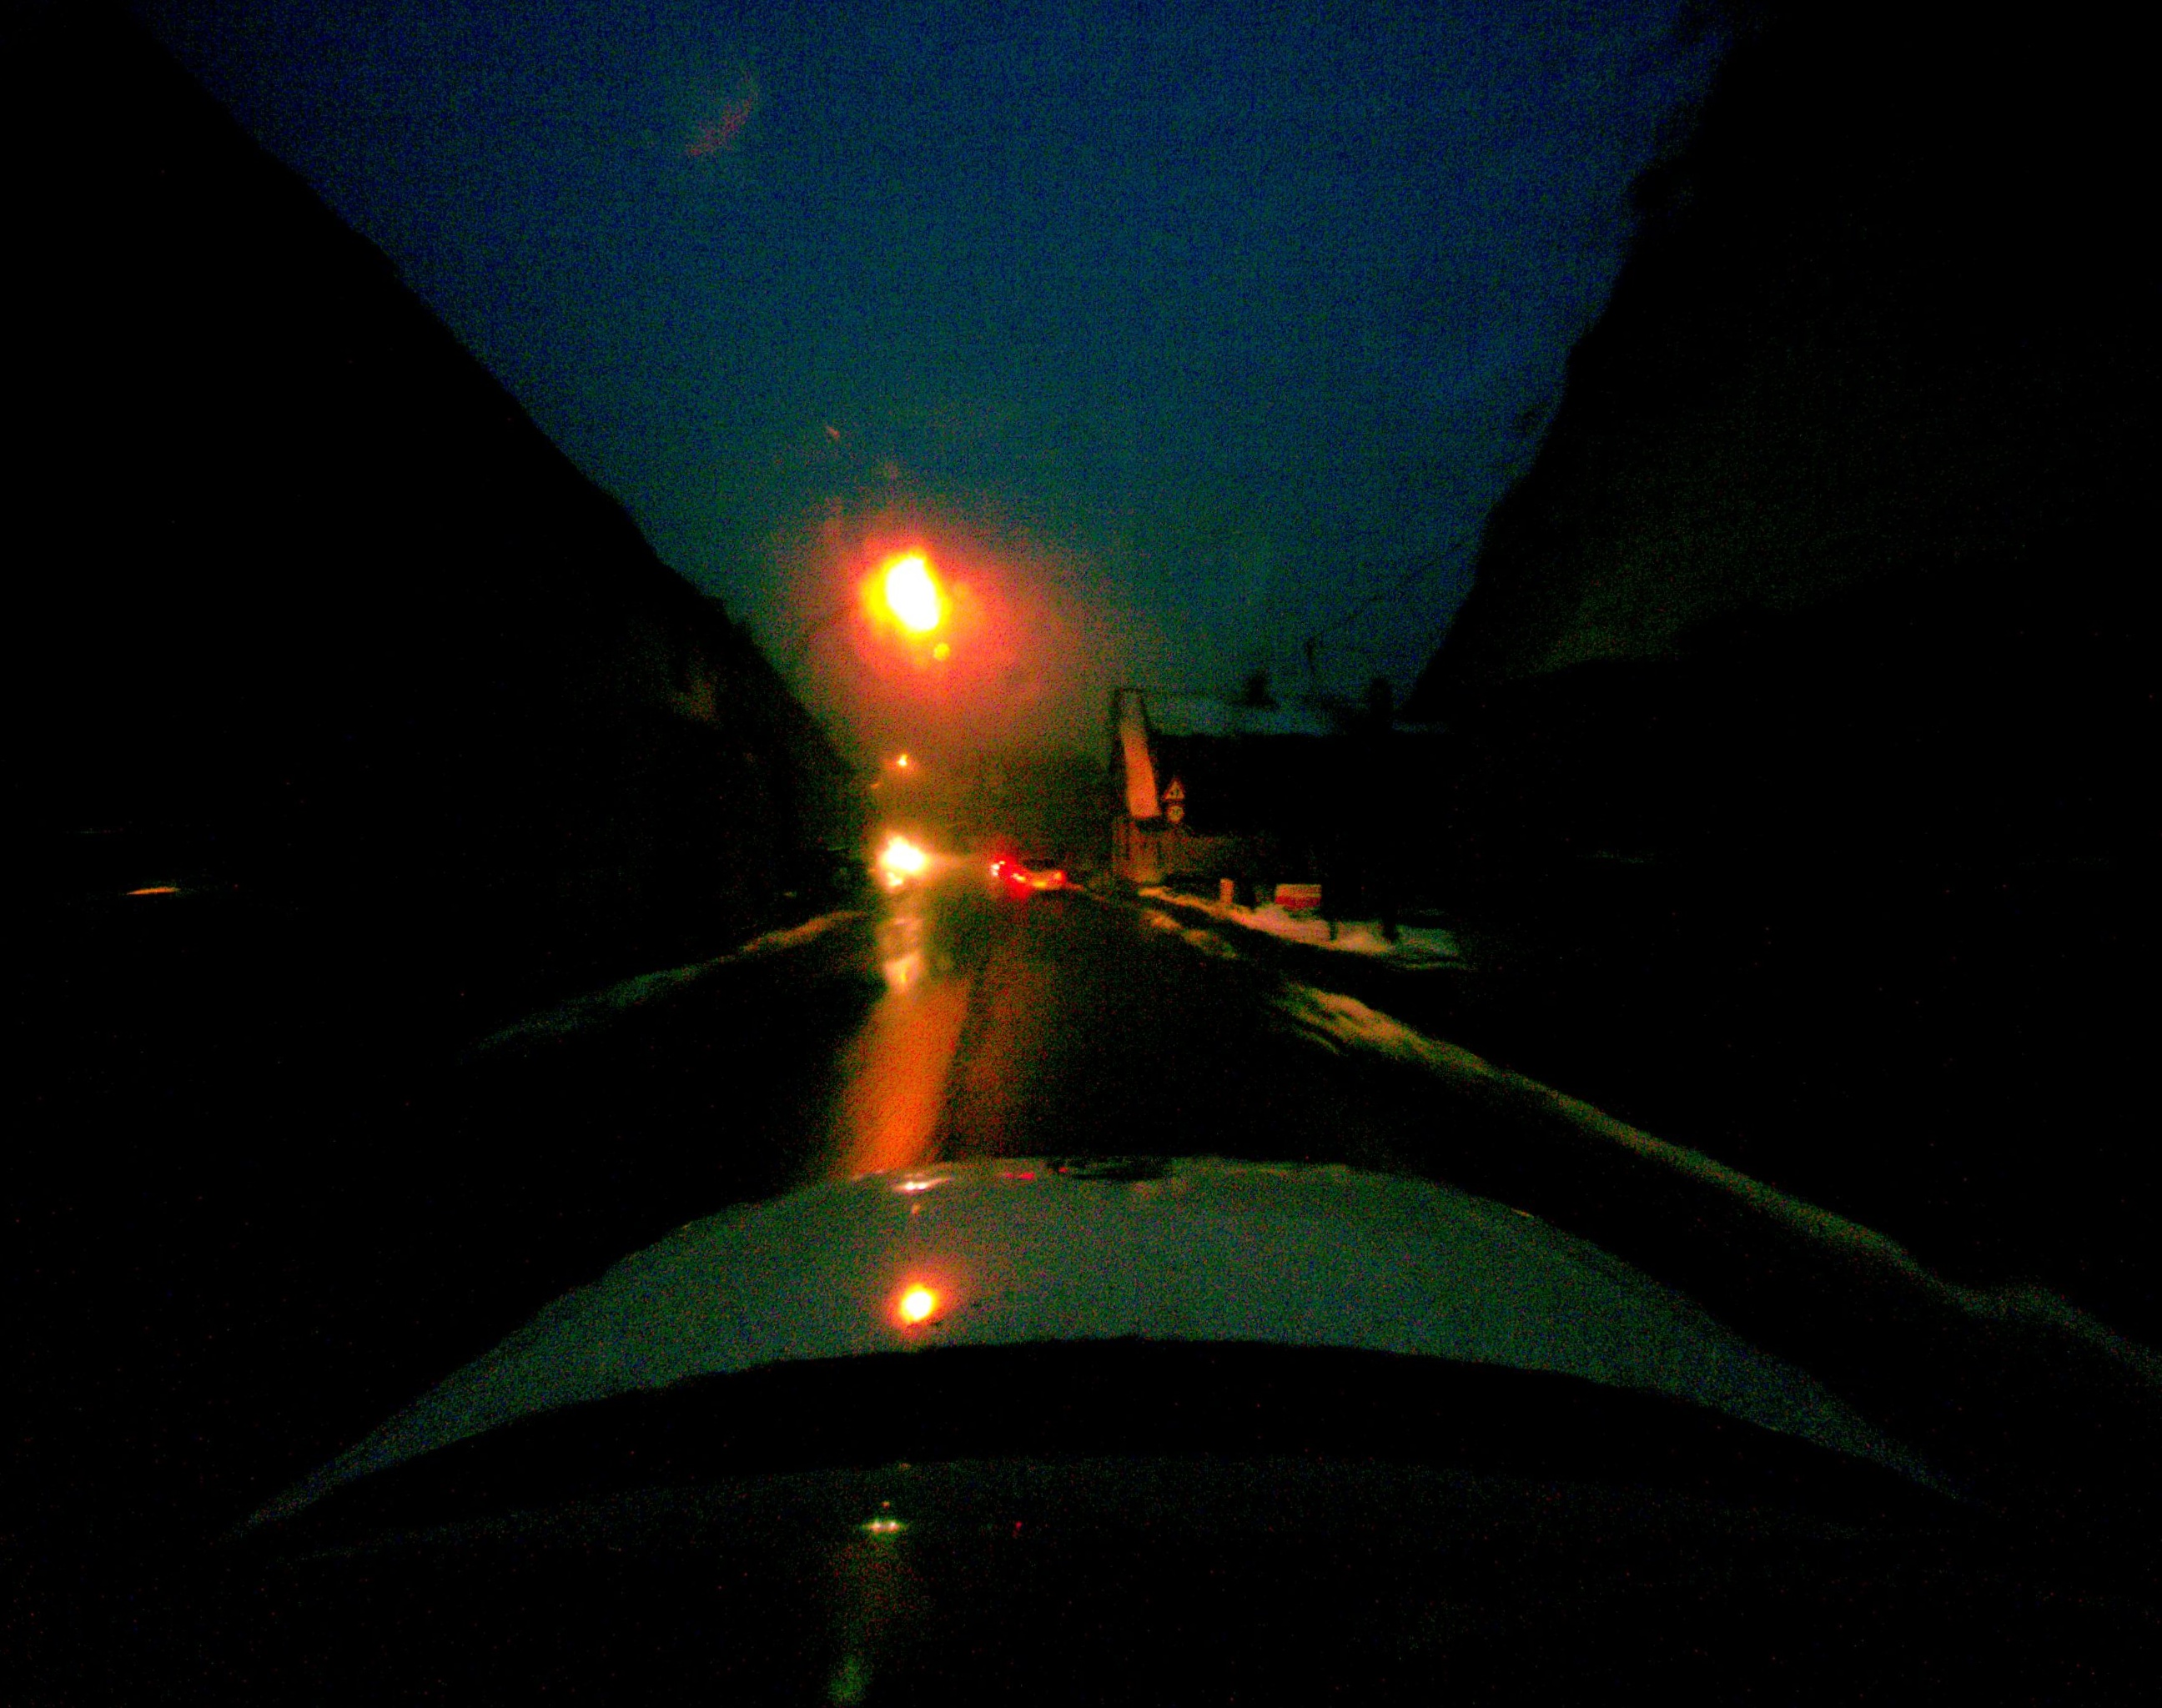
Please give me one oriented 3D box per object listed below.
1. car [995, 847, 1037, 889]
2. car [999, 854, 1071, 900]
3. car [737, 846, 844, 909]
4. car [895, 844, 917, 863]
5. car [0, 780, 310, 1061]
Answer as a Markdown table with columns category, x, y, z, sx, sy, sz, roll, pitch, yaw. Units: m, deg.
| category | x | y | z | sx | sy | sz | roll | pitch | yaw |
| --- | --- | --- | --- | --- | --- | --- | --- | --- | --- |
| car | -3.356 | 0.765 | 42.212 | 1.990 | 2.014 | 3.993 | 2 | -2 | -4 |
| car | -1.745 | 0.826 | 29.618 | 1.995 | 1.508 | 3.983 | 2 | -2 | -12 |
| car | -7.983 | 0.586 | 22.811 | 1.993 | 1.522 | 4.178 | 2 | 1 | -9 |
| car | -15.782 | -0.030 | 73.630 | 1.841 | 1.687 | 4.461 | -1 | 0 | -11 |
| car | -7.865 | 0.388 | 5.450 | 1.766 | 1.736 | 4.619 | 4 | 1 | -14 |
